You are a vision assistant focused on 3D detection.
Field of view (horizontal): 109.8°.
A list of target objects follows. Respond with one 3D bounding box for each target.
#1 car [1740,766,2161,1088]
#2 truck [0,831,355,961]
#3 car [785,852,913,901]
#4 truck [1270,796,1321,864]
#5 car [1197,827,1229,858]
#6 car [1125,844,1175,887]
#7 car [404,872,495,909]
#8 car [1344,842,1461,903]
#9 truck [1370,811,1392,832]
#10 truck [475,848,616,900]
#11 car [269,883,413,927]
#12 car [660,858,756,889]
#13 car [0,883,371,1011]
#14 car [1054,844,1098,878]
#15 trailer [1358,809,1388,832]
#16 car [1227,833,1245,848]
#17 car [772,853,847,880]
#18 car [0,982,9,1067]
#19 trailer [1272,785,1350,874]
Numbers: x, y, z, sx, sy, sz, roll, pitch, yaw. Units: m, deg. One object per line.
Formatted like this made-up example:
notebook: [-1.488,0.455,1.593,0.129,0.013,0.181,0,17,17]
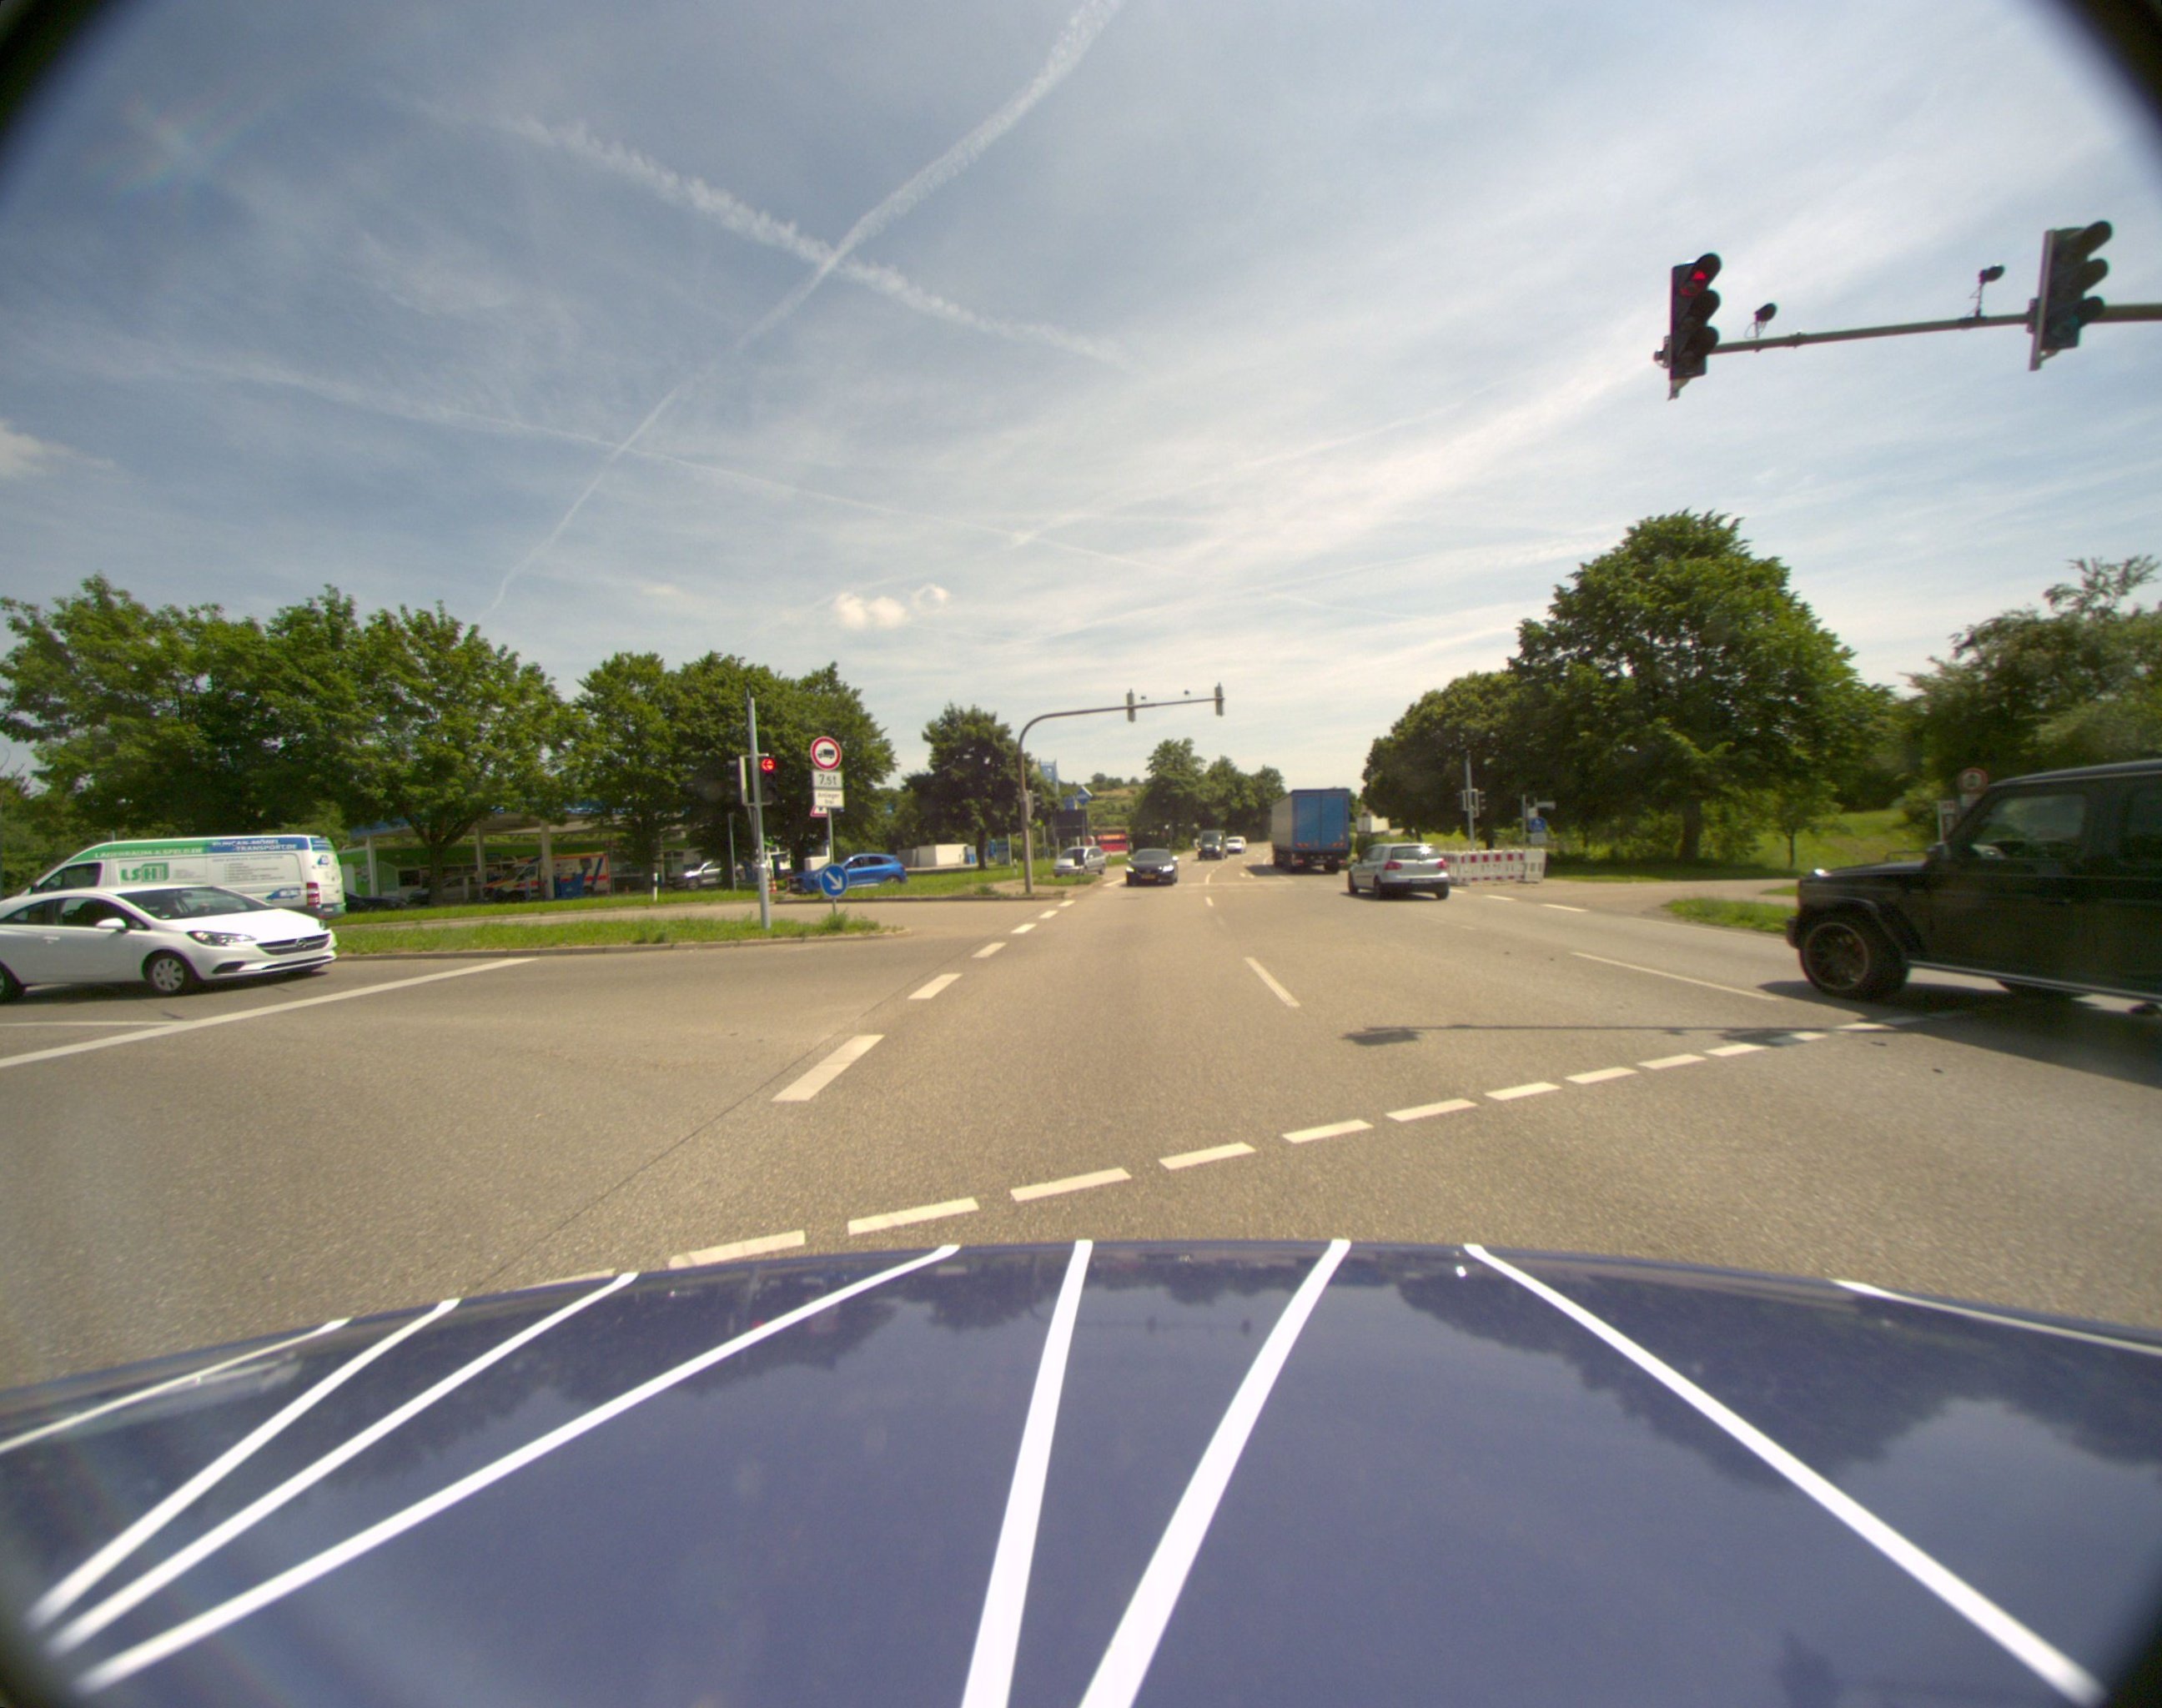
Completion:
car: [7.699,0.413,5.230,1.999,1.994,5.164,-2,1,3]
truck: [-22.216,0.890,18.617,5.951,2.722,2.068,-3,2,-30]
car: [-8.873,0.828,29.350,1.779,1.550,4.396,-2,1,40]
truck: [13.611,-1.532,48.568,2.571,4.007,6.563,-1,2,11]
car: [11.513,-1.051,65.991,1.978,2.505,4.162,-1,2,19]
car: [2.694,0.393,29.857,1.782,1.484,4.158,-1,1,5]
car: [-39.137,2.217,47.178,1.708,2.002,3.869,-1,2,30]
car: [8.587,0.428,20.670,1.775,1.487,4.001,0,1,5]
truck: [56.702,-6.203,143.673,2.779,3.921,5.715,1,3,33]
truck: [-30.969,1.097,44.179,2.256,2.603,6.160,-2,2,35]
car: [-31.972,2.162,33.040,4.328,1.355,1.755,-4,3,-41]
car: [-23.411,1.202,47.845,2.033,1.594,4.948,0,3,36]
car: [-12.889,1.258,10.728,3.969,1.411,1.828,-2,2,3]
car: [-0.208,0.351,43.031,1.864,1.682,4.527,-2,2,7]
trailer: [53.293,-6.067,138.524,2.779,4.079,11.681,1,3,33]
car: [16.785,-1.473,82.260,1.781,1.485,4.160,-1,2,14]
car: [-19.231,0.881,53.979,1.994,1.613,4.638,0,3,36]
car: [-12.701,1.380,6.566,4.635,1.598,1.999,-3,2,8]
trailer: [12.254,-1.320,41.570,2.571,4.007,13.601,-1,2,11]
